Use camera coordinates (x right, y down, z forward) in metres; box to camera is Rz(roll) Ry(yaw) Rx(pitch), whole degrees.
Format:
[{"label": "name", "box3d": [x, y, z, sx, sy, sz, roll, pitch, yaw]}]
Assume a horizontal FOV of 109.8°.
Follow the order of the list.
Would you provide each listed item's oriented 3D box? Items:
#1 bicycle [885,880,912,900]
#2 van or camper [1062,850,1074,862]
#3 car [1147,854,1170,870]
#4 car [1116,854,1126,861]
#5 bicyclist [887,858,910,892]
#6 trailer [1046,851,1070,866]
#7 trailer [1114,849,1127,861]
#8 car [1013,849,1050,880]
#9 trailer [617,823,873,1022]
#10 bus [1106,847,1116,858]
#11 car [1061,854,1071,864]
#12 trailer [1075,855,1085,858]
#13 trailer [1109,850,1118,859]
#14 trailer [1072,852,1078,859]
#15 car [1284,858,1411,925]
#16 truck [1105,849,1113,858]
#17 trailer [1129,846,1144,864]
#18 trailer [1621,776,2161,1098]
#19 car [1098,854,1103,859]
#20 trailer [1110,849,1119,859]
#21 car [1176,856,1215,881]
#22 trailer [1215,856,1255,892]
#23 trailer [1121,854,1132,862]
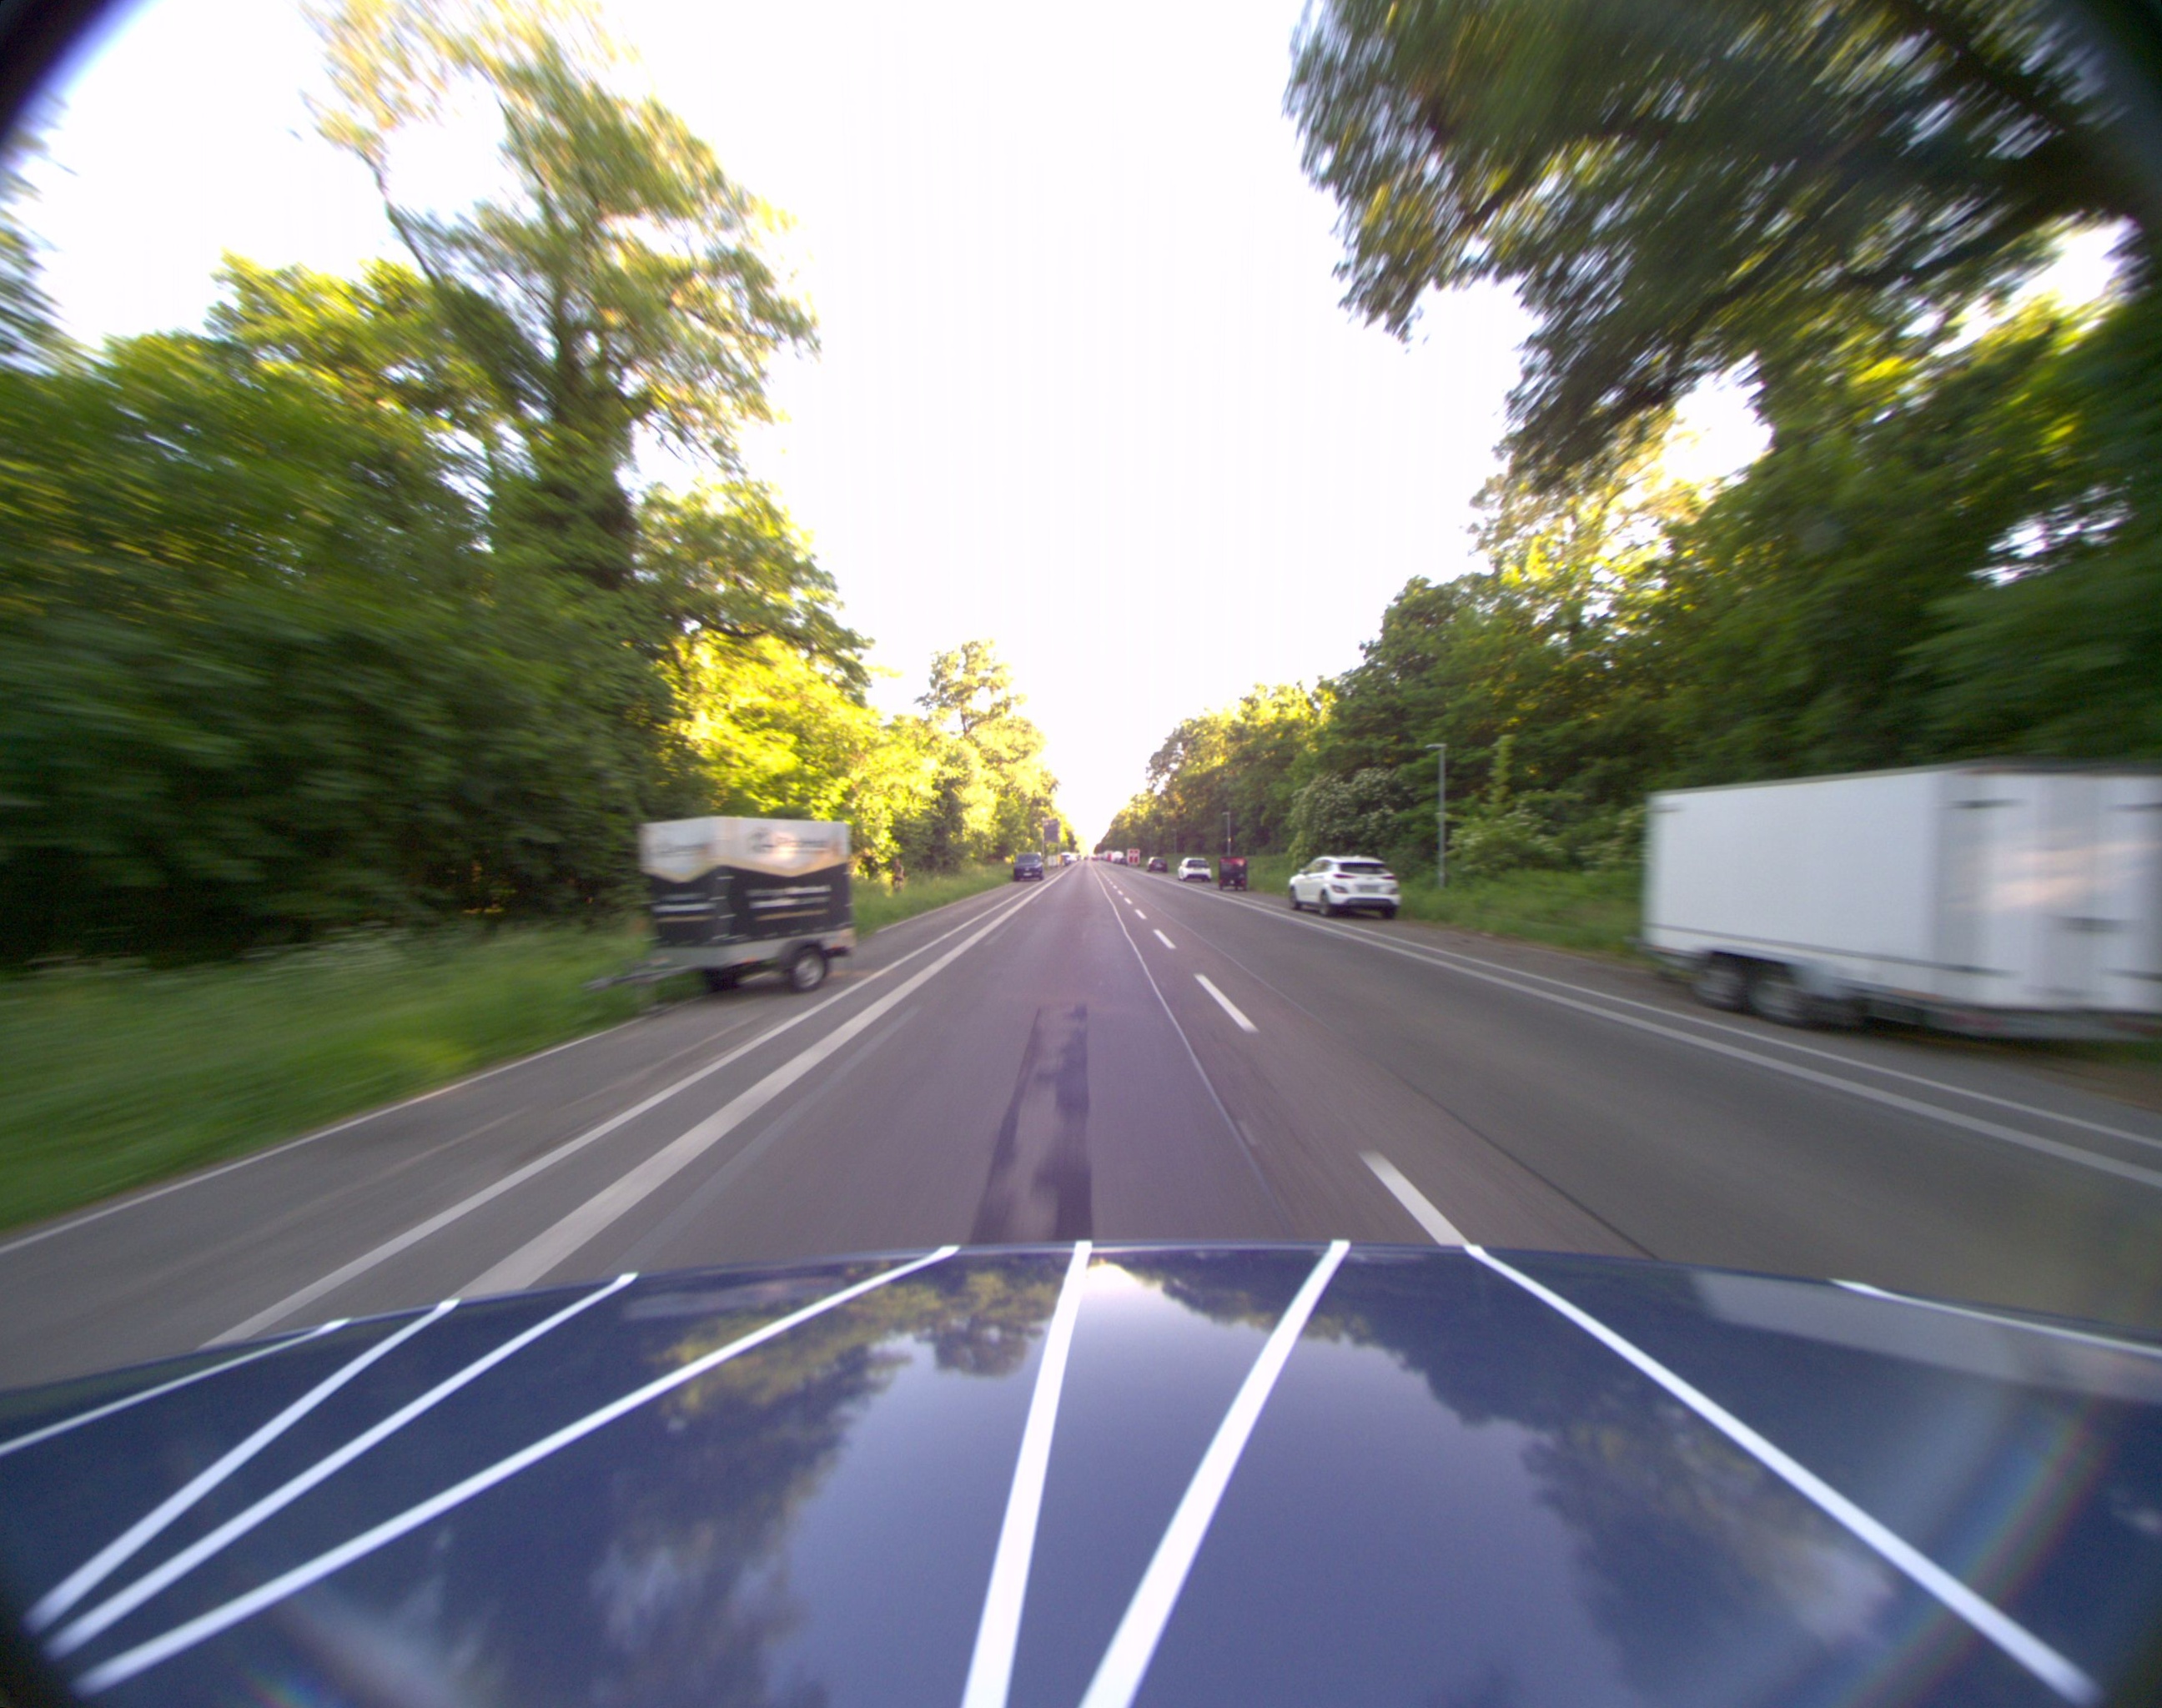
[{"label": "bicycle", "box3d": [-7.424, 1.447, 31.040, 0.592, 0.688, 1.996, -1, 0, 1]}, {"label": "van or camper", "box3d": [-2.518, 0.368, 151.721, 2.131, 2.468, 6.305, -1, 0, 1]}, {"label": "car", "box3d": [7.593, 0.792, 74.874, 1.859, 1.456, 4.784, -1, 0, 1]}, {"label": "car", "box3d": [8.258, 0.716, 156.654, 1.675, 1.486, 4.194, 2, 1, 1]}, {"label": "bicyclist", "box3d": [-7.455, 0.849, 31.072, 0.612, 1.317, 1.175, -1, 0, 1]}, {"label": "trailer", "box3d": [-3.124, 0.645, 103.921, 1.964, 2.011, 3.849, -1, 0, 20]}, {"label": "trailer", "box3d": [8.440, 0.172, 162.965, 2.352, 2.514, 4.343, 0, 0, -3]}, {"label": "car", "box3d": [-3.412, 0.706, 53.676, 2.119, 2.002, 5.039, -3, 0, 1]}, {"label": "trailer", "box3d": [-4.018, 0.727, 9.406, 1.616, 2.100, 2.399, -1, 0, 21]}, {"label": "bus", "box3d": [9.711, -0.598, 247.283, 2.835, 3.411, 11.199, -2, 0, 0]}, {"label": "car", "box3d": [-2.447, 0.810, 126.106, 1.590, 1.521, 3.011, -2, 0, 0]}, {"label": "trailer", "box3d": [-0.255, 0.619, 205.090, 2.439, 0.794, 5.659, -2, 0, 1]}, {"label": "trailer", "box3d": [8.493, 0.175, 199.970, 2.072, 2.466, 3.560, 0, 0, -3]}, {"label": "trailer", "box3d": [-1.710, 0.469, 220.755, 1.759, 2.149, 3.539, -1, 0, -1]}, {"label": "car", "box3d": [7.010, 0.925, 20.500, 1.819, 1.562, 4.206, 1, 0, -1]}, {"label": "truck", "box3d": [9.567, -0.103, 258.558, 2.489, 2.807, 8.424, -1, 0, 0]}, {"label": "trailer", "box3d": [8.269, 0.159, 114.434, 1.998, 2.606, 4.086, -1, 0, 1]}, {"label": "trailer", "box3d": [7.305, 0.582, 7.118, 2.080, 2.280, 3.487, 0, 0, 2]}, {"label": "car", "box3d": [6.341, 0.848, 244.798, 1.608, 1.412, 3.518, 1, 0, 0]}, {"label": "trailer", "box3d": [8.124, 0.007, 184.633, 2.072, 2.466, 3.560, 0, 0, -3]}, {"label": "car", "box3d": [7.234, 0.903, 48.408, 1.871, 1.442, 4.071, 2, 0, 1]}, {"label": "trailer", "box3d": [7.200, 0.900, 35.316, 1.397, 1.565, 2.678, -1, 0, 21]}, {"label": "trailer", "box3d": [8.512, 0.702, 143.459, 1.846, 1.457, 4.466, -1, 0, 0]}]
